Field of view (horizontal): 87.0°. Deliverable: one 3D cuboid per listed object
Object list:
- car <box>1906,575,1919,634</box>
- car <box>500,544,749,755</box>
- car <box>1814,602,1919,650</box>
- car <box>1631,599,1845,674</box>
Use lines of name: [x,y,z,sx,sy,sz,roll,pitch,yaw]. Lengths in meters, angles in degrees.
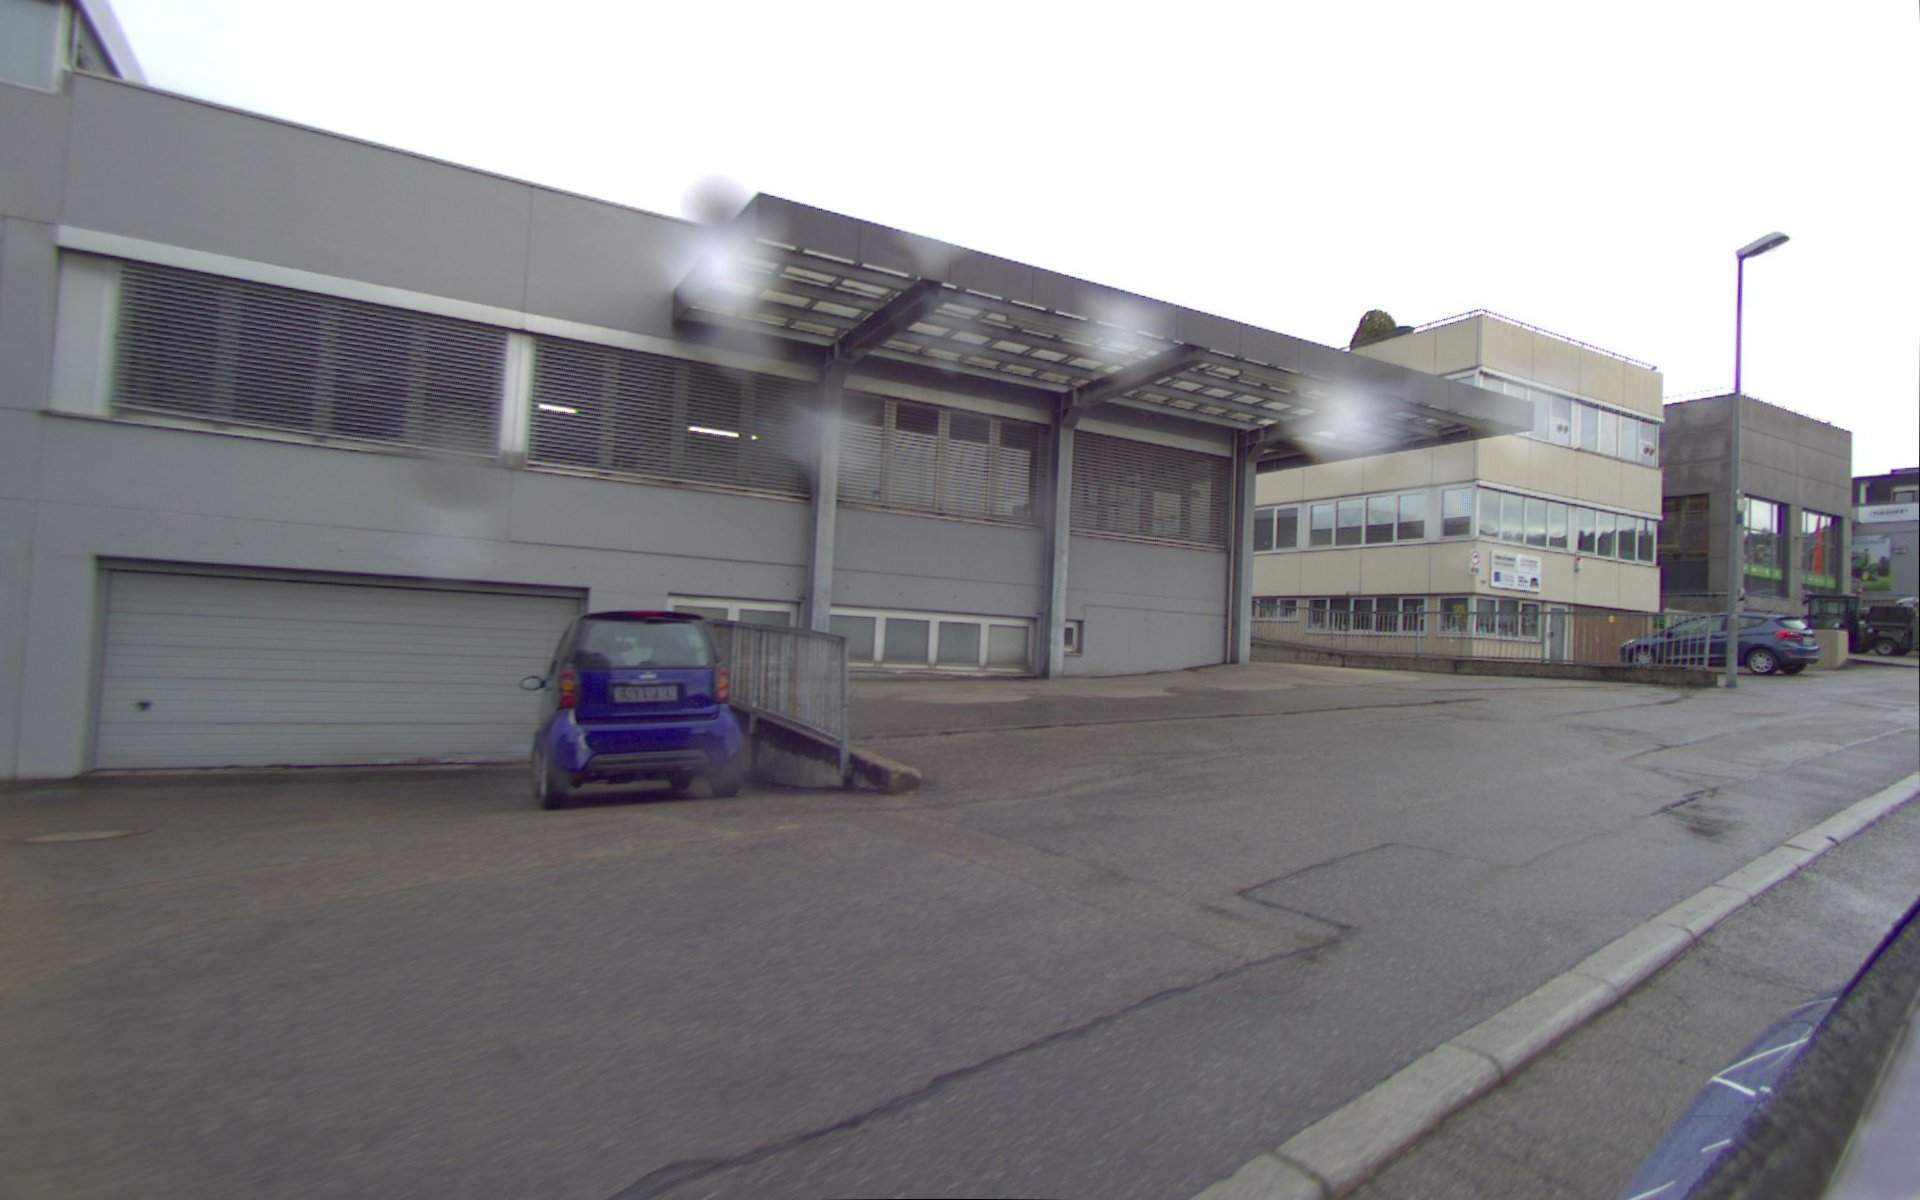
car: [40.047,0.197,38.774,2.157,2.323,5.163,1,0,-28]
car: [-3.217,0.595,9.277,1.585,1.520,3.446,1,-9,-28]
car: [31.945,0.872,34.000,1.902,1.516,4.631,1,0,-30]
car: [18.649,0.815,24.427,1.599,1.559,3.755,2,1,-32]
